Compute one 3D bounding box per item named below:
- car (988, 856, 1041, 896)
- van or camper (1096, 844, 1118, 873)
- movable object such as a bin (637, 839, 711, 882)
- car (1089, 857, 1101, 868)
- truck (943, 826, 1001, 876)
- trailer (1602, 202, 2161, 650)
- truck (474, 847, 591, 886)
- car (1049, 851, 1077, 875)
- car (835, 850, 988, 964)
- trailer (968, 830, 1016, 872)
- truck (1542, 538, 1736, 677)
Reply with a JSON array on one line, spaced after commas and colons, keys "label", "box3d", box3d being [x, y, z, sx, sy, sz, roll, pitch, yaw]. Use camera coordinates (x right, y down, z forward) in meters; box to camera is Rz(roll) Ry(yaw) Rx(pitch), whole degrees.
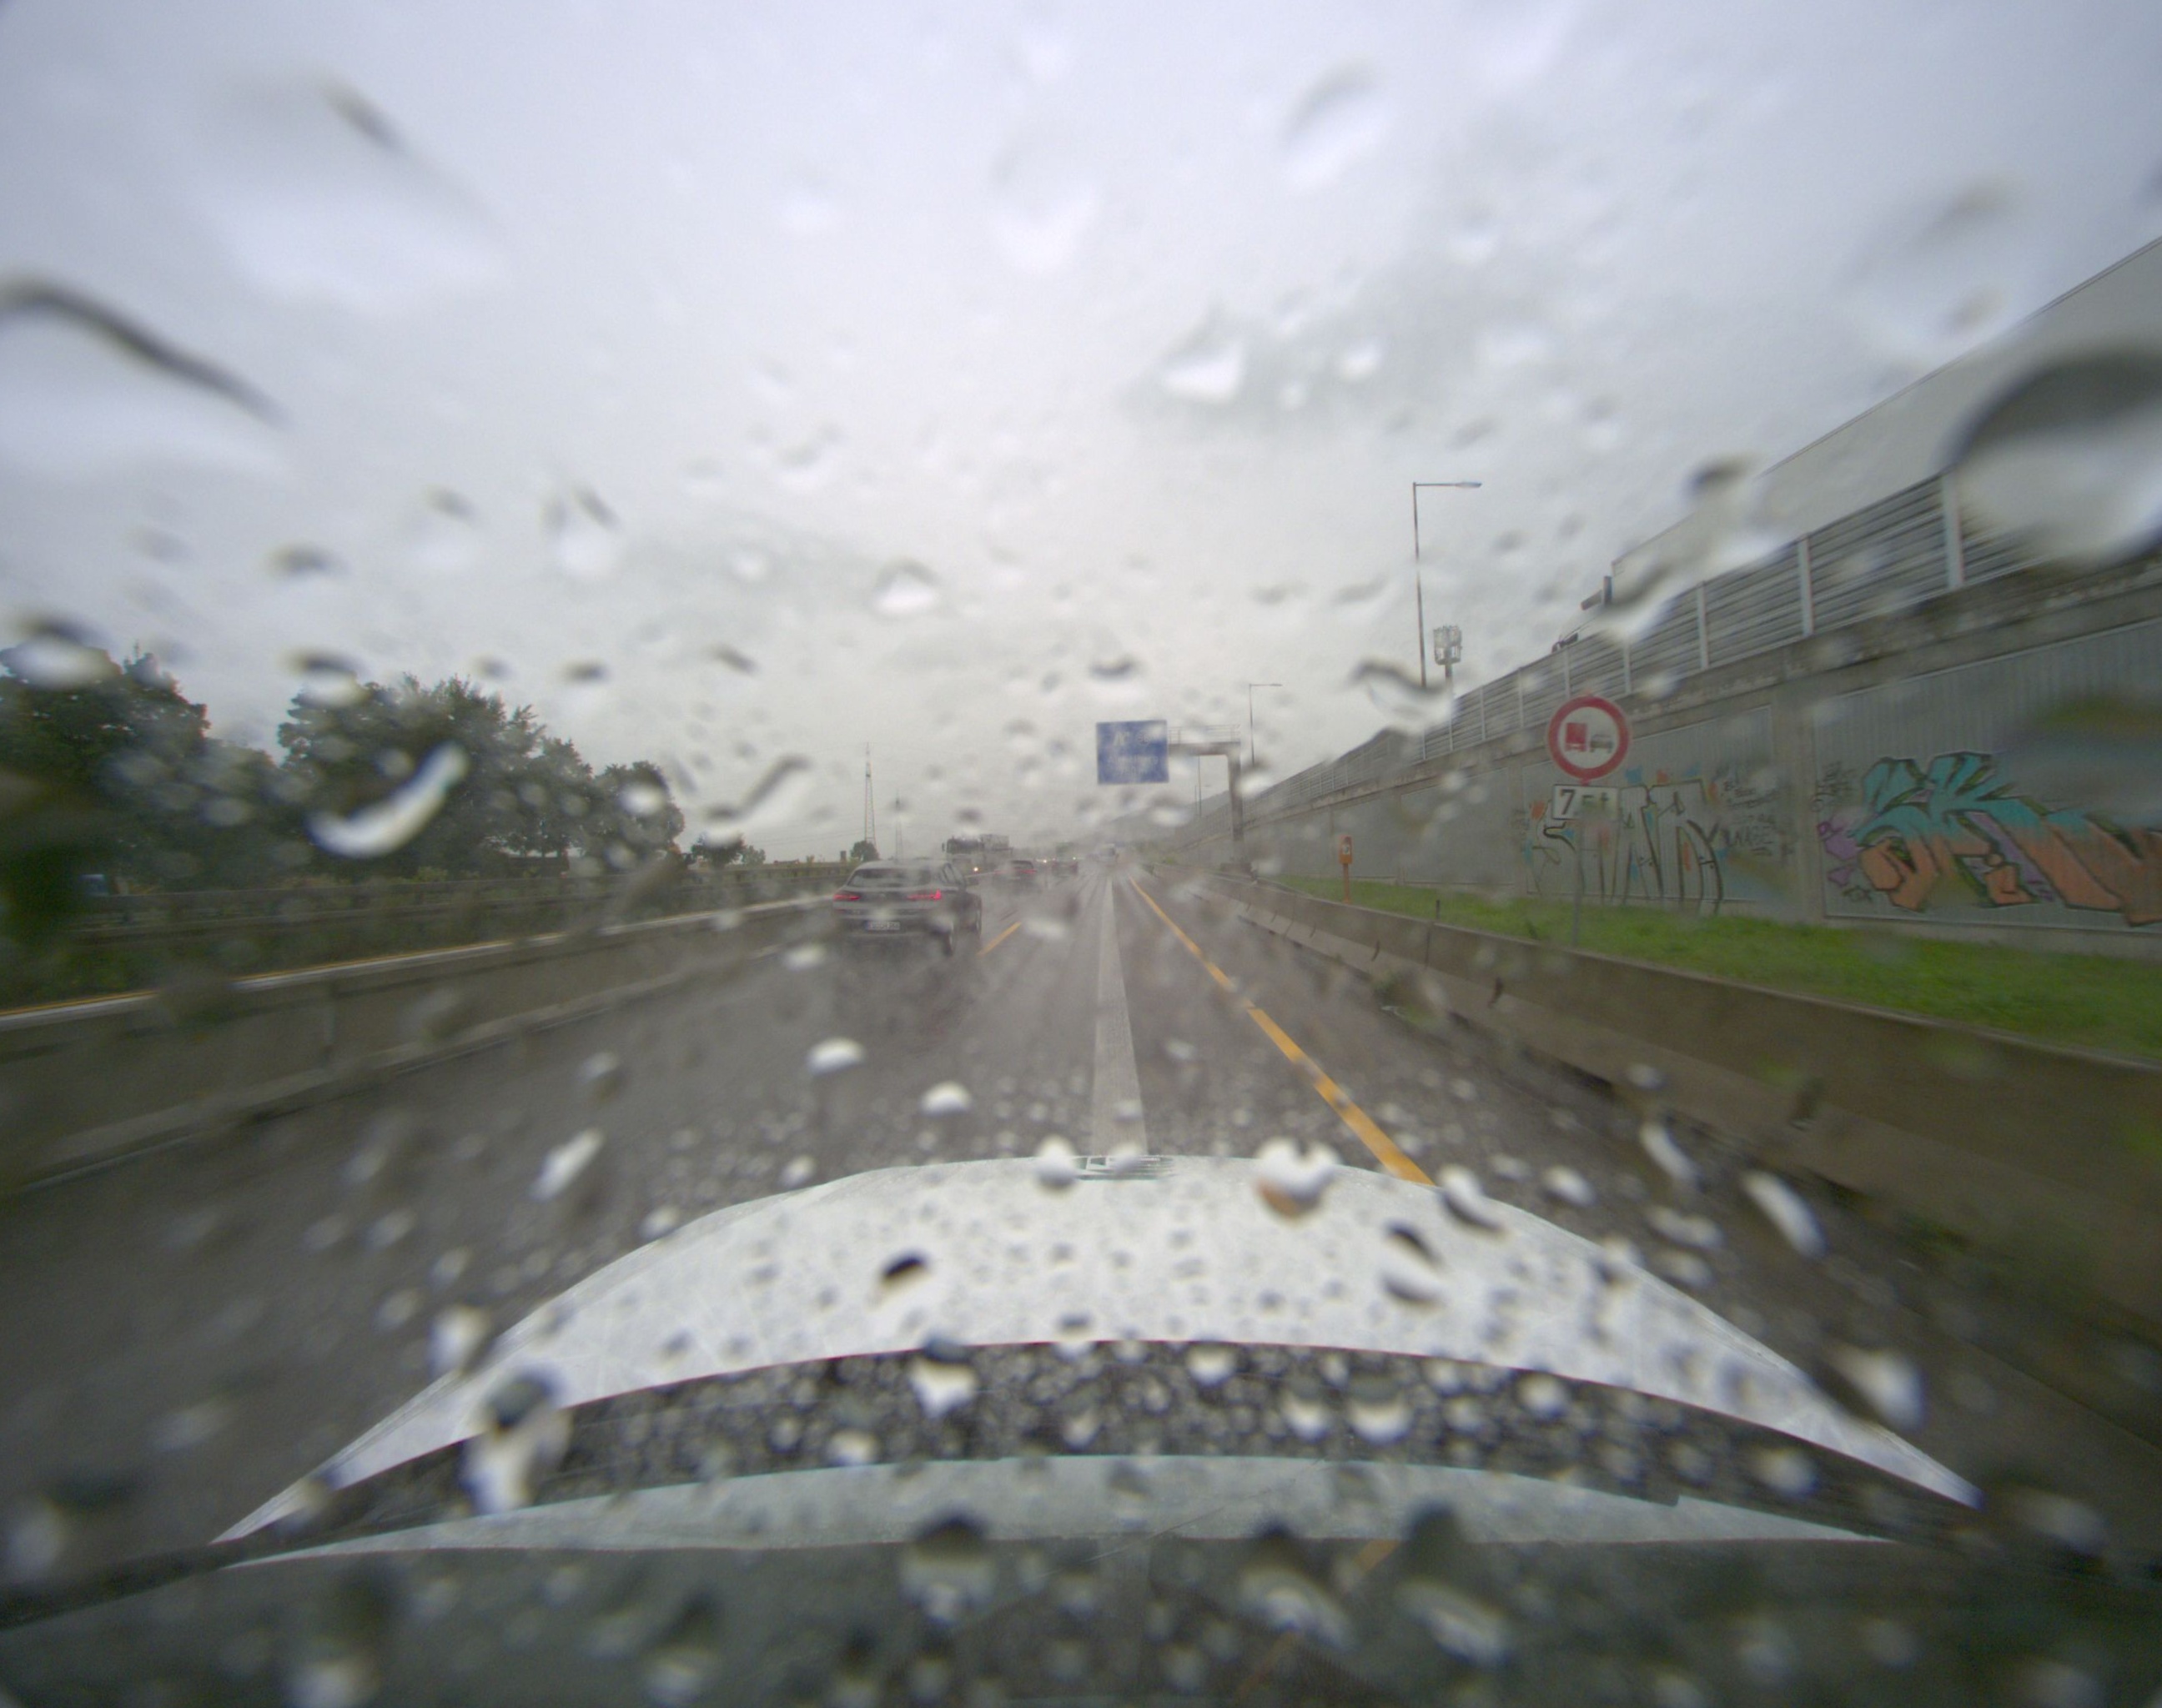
[{"label": "car", "box3d": [-2.619, 0.873, 32.867, 1.839, 1.491, 4.259, -1, -1, -1]}, {"label": "van or camper", "box3d": [2.556, 0.465, 80.788, 1.990, 2.777, 4.047, -1, -2, -1]}, {"label": "movable object such as a bin", "box3d": [-39.436, 0.732, 79.318, 2.719, 3.920, 8.467, -1, -1, 2]}, {"label": "car", "box3d": [2.099, 1.218, 121.085, 1.564, 1.480, 2.817, -4, -2, -4]}, {"label": "truck", "box3d": [-7.902, -0.213, 60.401, 2.629, 3.347, 9.558, -1, 0, 2]}, {"label": "trailer", "box3d": [12.990, -6.024, 12.235, 1.986, 2.106, 13.774, -1, -1, 2]}, {"label": "truck", "box3d": [-41.777, 0.910, 62.471, 2.504, 2.704, 8.910, -1, 0, 3]}, {"label": "car", "box3d": [-1.263, 0.622, 58.509, 1.839, 1.491, 4.259, -4, 0, -1]}, {"label": "car", "box3d": [-2.706, 0.820, 14.107, 1.696, 1.598, 4.842, -1, -1, -1]}, {"label": "trailer", "box3d": [-7.483, -0.247, 70.058, 2.651, 3.362, 9.720, -1, 0, 2]}, {"label": "truck", "box3d": [13.261, -5.798, 19.714, 1.986, 2.014, 4.060, -1, -1, 2]}]
